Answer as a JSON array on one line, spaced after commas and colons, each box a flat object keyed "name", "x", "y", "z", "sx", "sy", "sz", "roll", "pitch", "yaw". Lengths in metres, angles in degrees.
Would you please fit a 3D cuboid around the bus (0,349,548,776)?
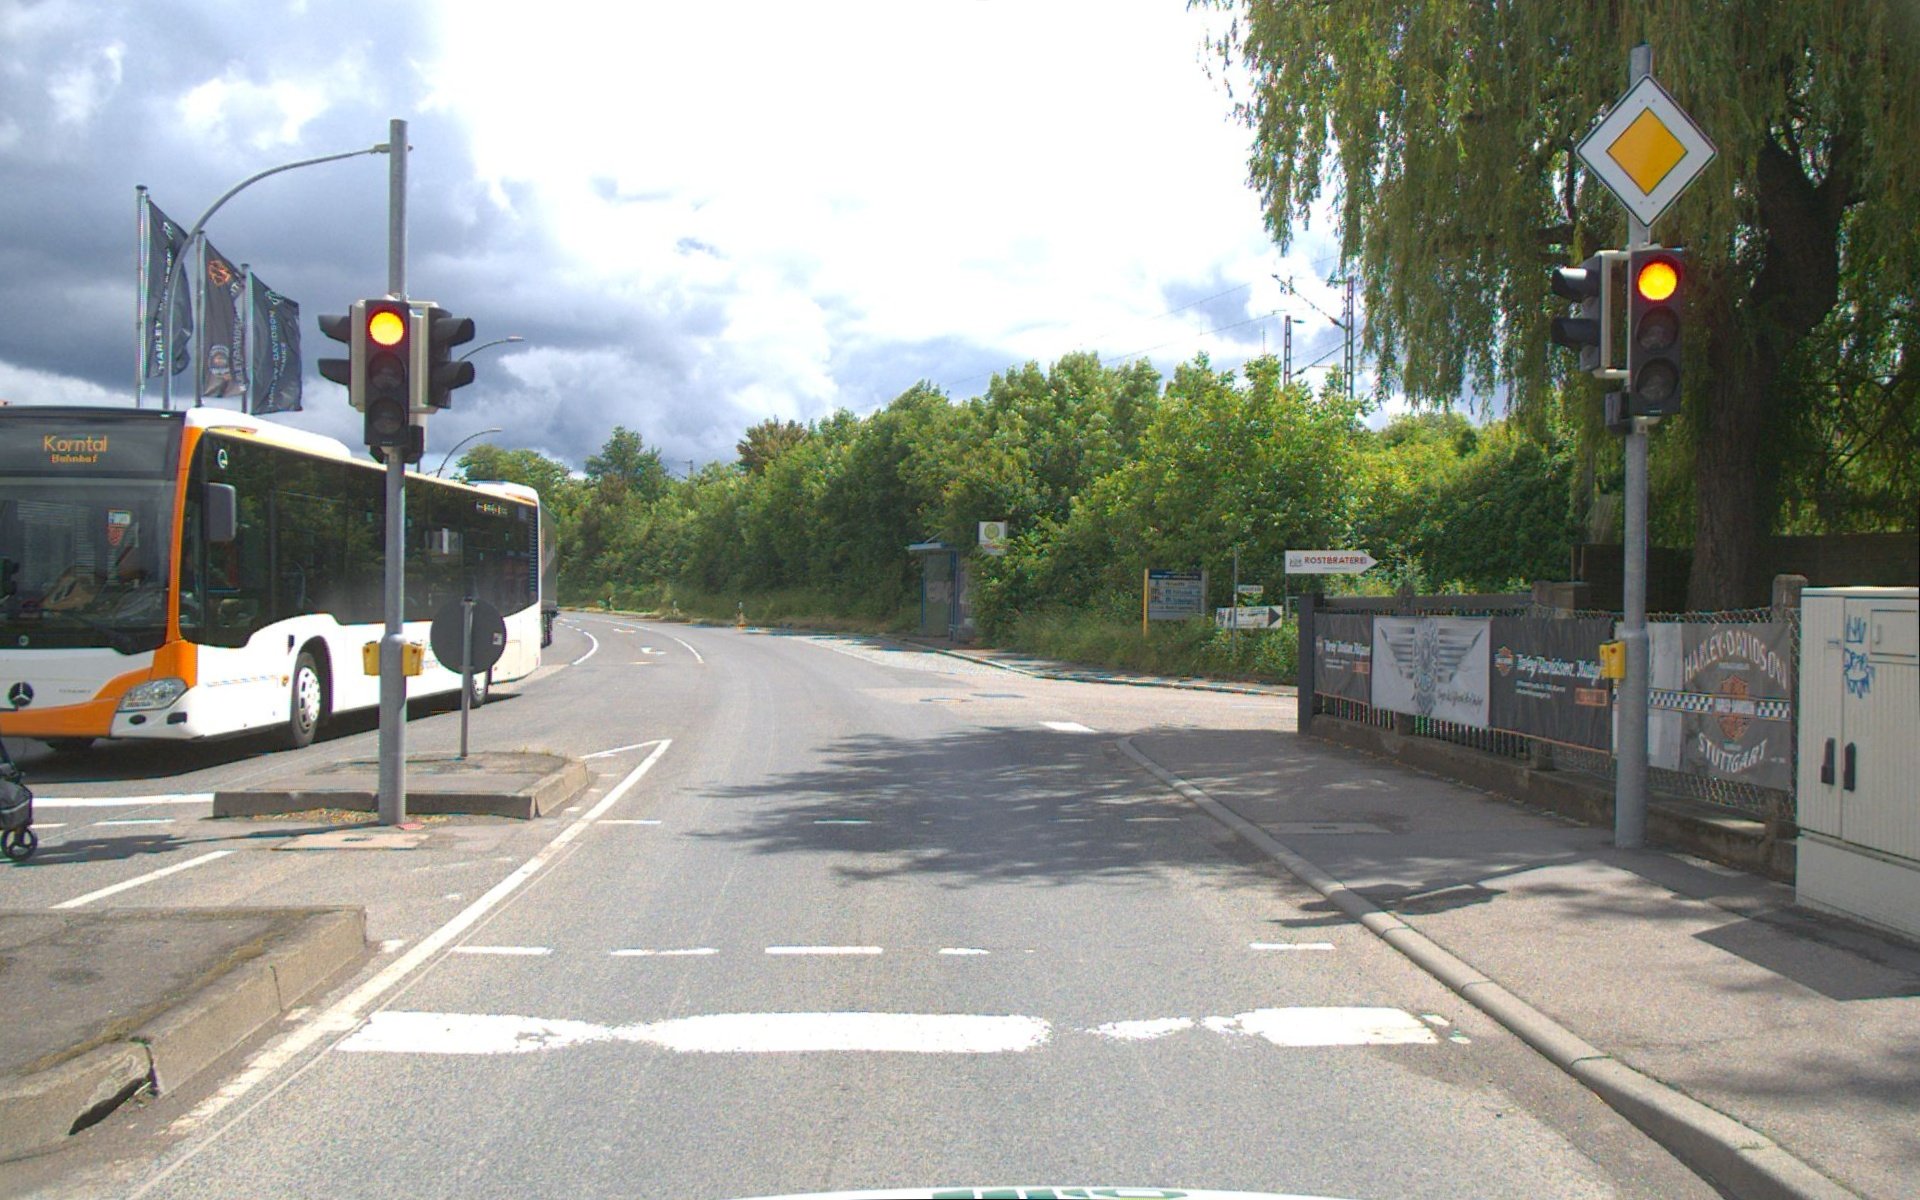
[{"name": "bus", "x": -7.507, "y": -0.284, "z": 18.953, "sx": 2.721, "sy": 3.323, "sz": 12.120, "roll": 0, "pitch": 0, "yaw": -1}]

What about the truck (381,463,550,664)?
[{"name": "truck", "x": -11.718, "y": -0.772, "z": 40.005, "sx": 2.383, "sy": 4.203, "sz": 9.133, "roll": 3, "pitch": 0, "yaw": -8}]

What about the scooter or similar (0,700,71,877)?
[{"name": "scooter or similar", "x": -5.124, "y": 0.968, "z": 8.648, "sx": 0.599, "sy": 0.846, "sz": 0.659, "roll": 0, "pitch": 0, "yaw": -2}]
